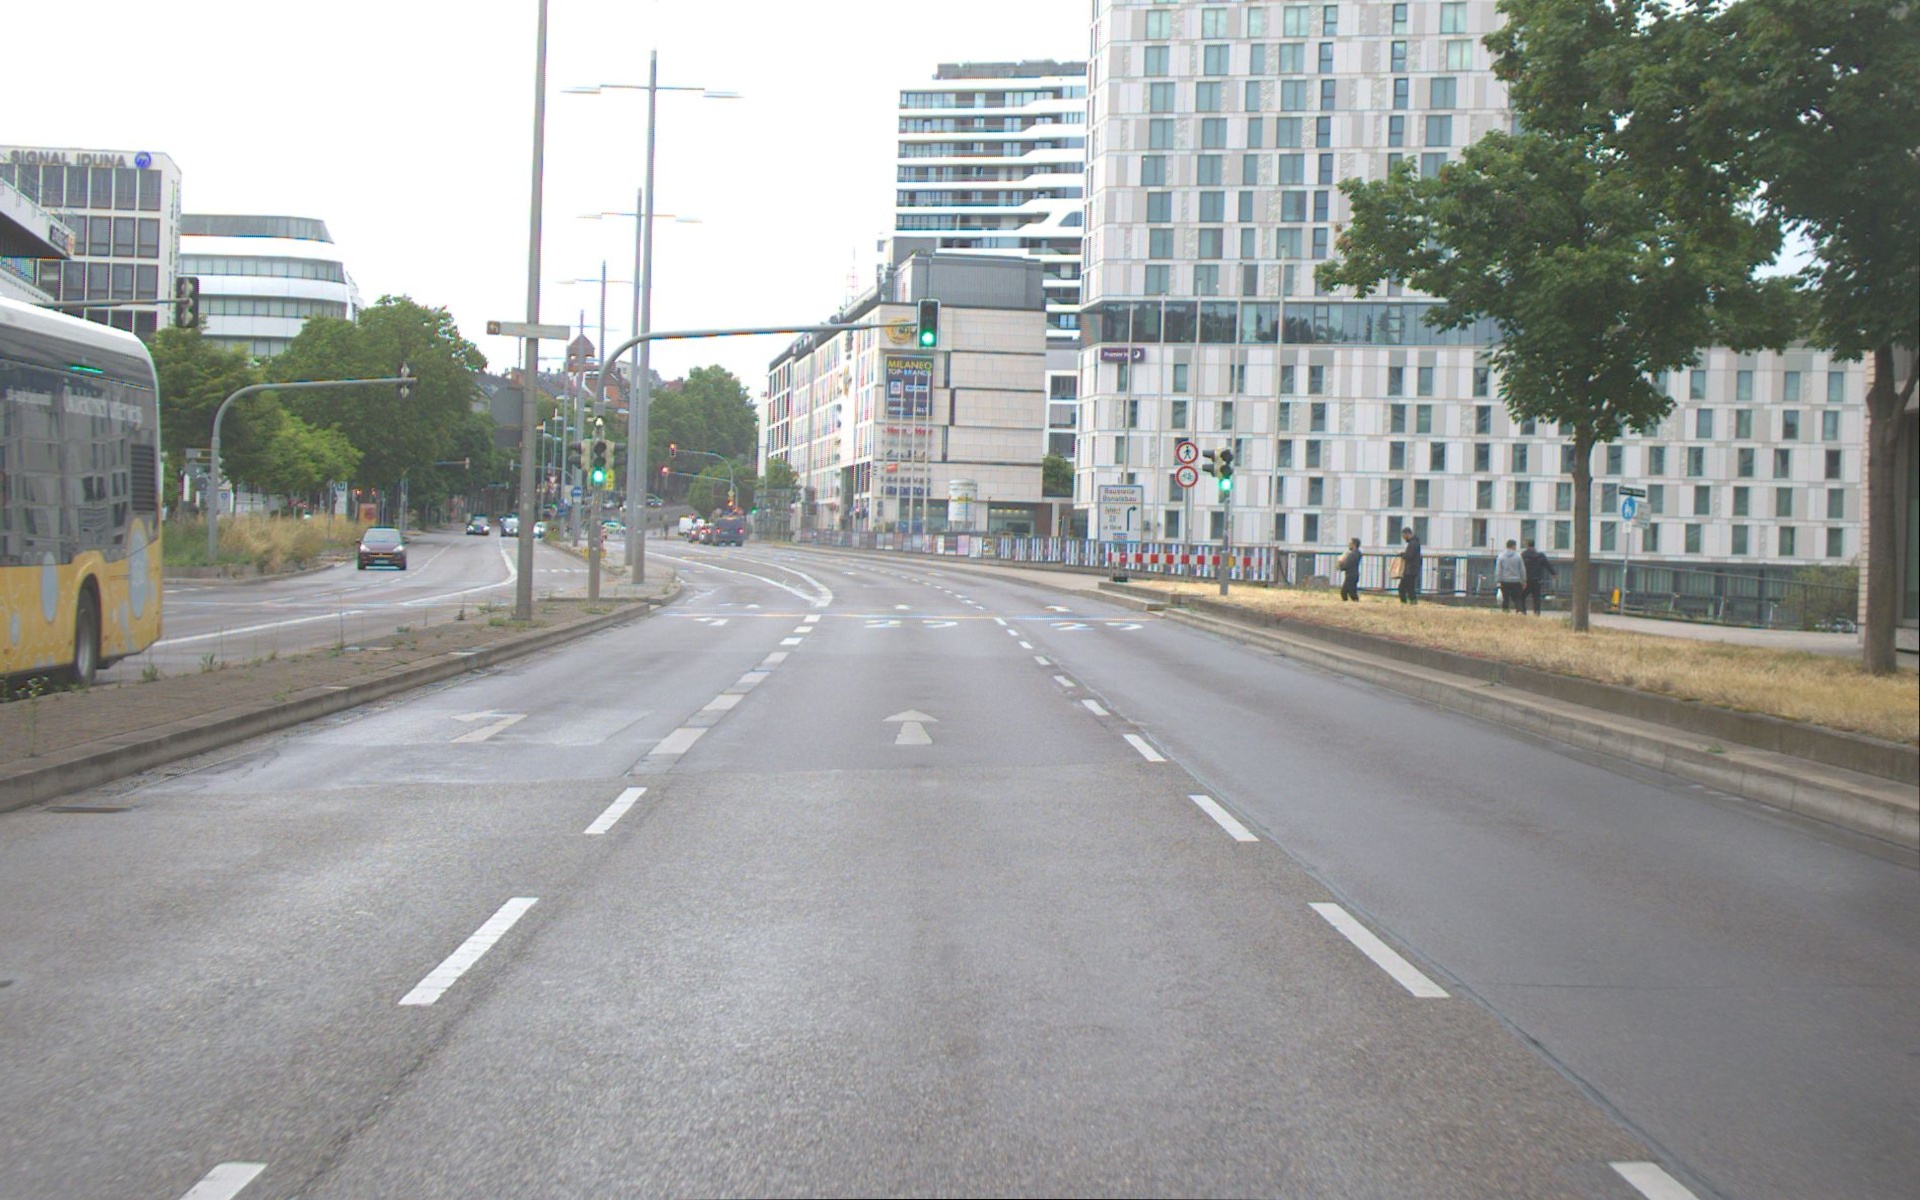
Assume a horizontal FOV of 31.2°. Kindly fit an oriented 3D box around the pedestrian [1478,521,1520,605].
[{"bbox_3d":[10.296,-0.702,65.627,0.550,1.572,0.669,2,3,33],"label":"pedestrian"}]

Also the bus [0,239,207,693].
[{"bbox_3d":[-8.944,-1.151,30.206,2.698,3.547,10.095,0,2,-2],"label":"bus"}]

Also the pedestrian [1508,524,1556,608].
[{"bbox_3d":[10.985,-0.654,66.048,0.670,1.572,0.667,2,3,37],"label":"pedestrian"}]

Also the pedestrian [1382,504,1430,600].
[{"bbox_3d":[8.689,-0.937,67.010,0.781,1.835,0.551,-2,4,-44],"label":"pedestrian"}]

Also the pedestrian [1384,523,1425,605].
[{"bbox_3d":[8.658,-0.708,66.960,0.550,1.572,0.669,2,3,33],"label":"pedestrian"}]

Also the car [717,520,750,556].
[{"bbox_3d":[-15.837,-4.341,240.409,1.993,2.335,4.001,-5,1,-2],"label":"car"}]
